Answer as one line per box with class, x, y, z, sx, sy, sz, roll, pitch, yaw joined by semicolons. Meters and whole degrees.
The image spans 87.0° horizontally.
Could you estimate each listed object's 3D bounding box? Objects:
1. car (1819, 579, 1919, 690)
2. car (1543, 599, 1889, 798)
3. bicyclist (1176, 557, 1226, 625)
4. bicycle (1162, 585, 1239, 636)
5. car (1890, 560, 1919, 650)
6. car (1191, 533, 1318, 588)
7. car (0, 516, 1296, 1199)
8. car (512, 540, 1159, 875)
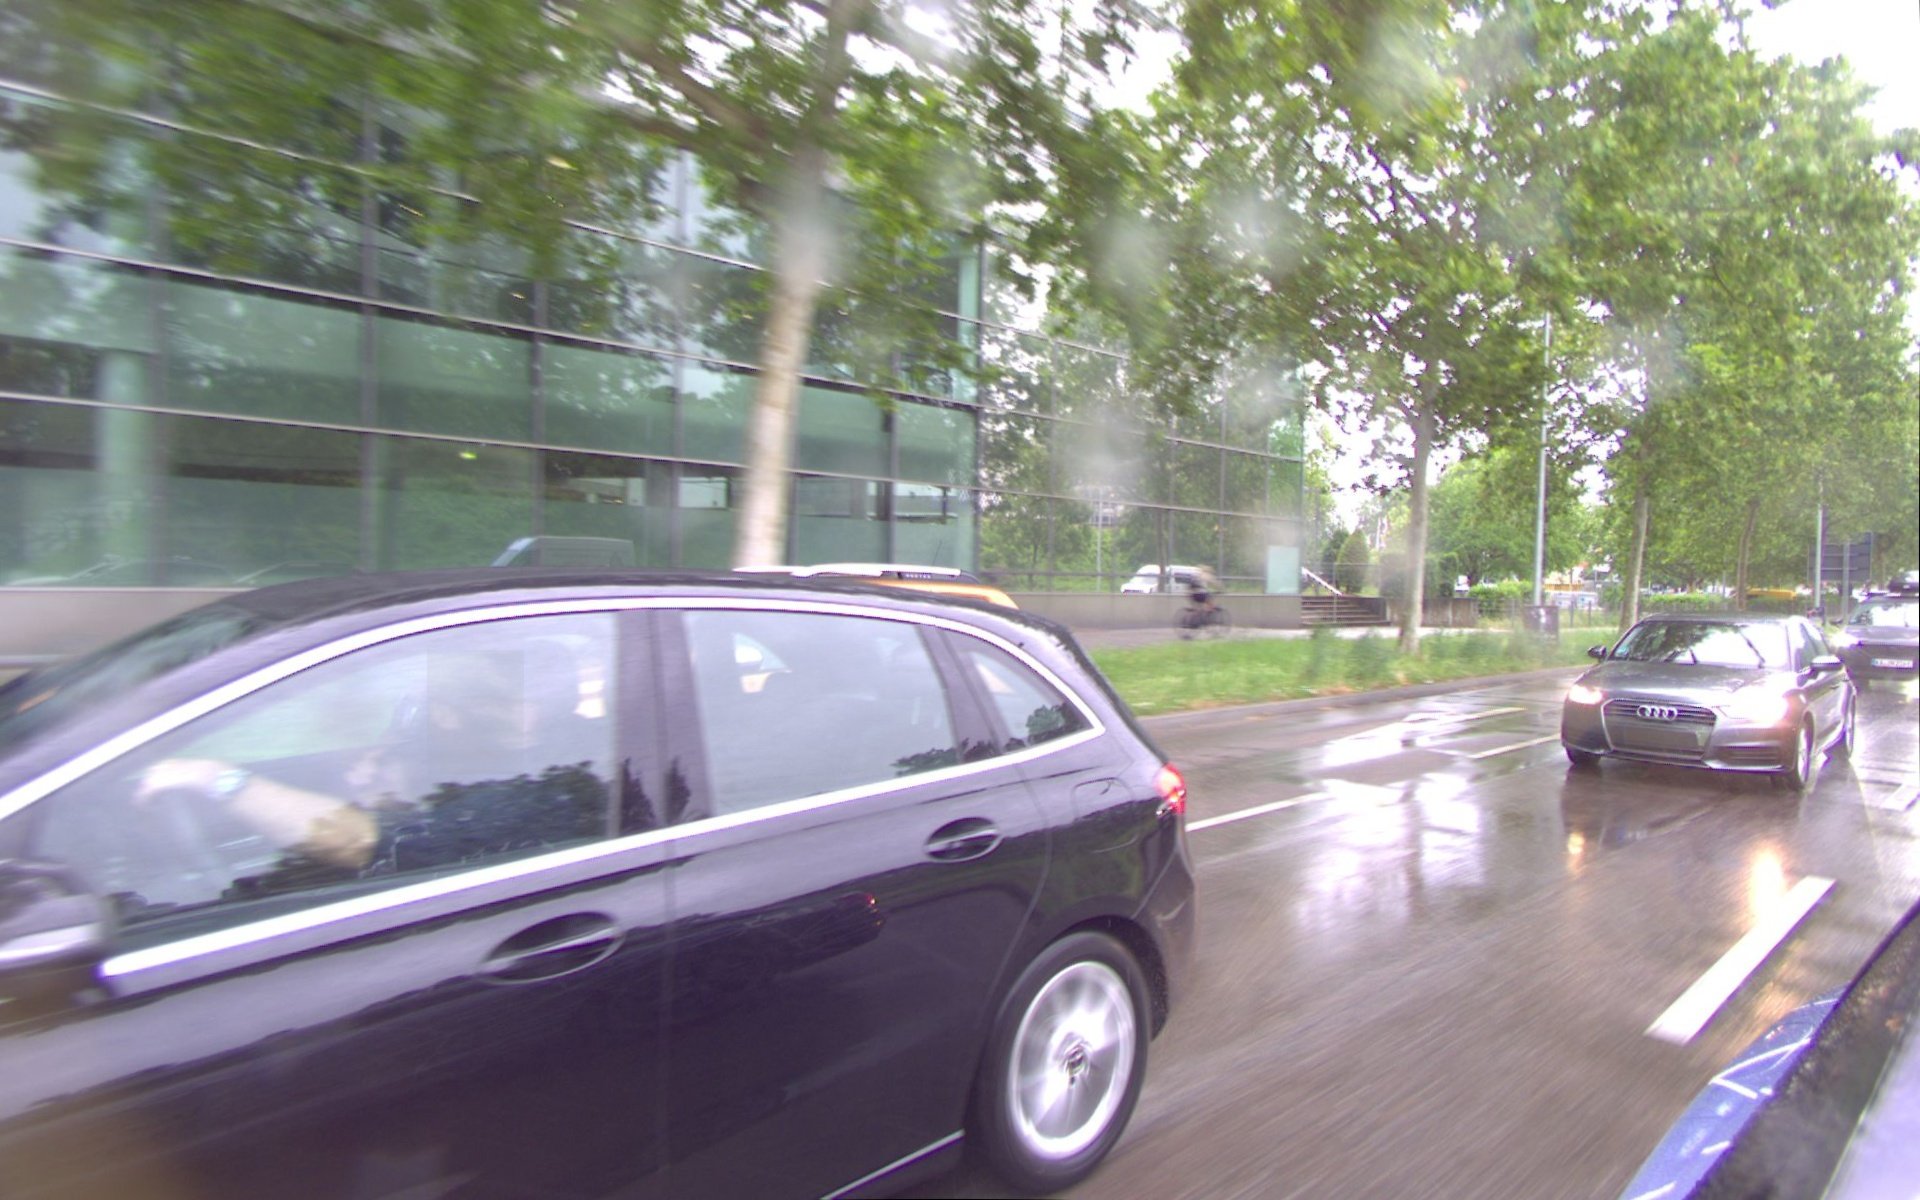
car;16.968;0.549;17.958;4.252;1.769;1.997;0;2;-41
car;7.021;0.717;9.281;3.688;1.416;1.839;0;0;-41
bicyclist;5.709;-0.220;23.981;0.740;1.533;0.806;-1;5;-44
bicycle;5.716;0.221;24.025;2.042;1.118;0.744;-1;4;-44
car;28.364;0.146;28.985;4.891;2.460;1.997;0;2;-41
car;13.776;-1.839;47.728;5.609;2.487;1.992;0;0;13
car;-1.213;0.639;2.308;4.013;1.542;1.875;0;2;-39
car;-0.680;0.491;7.041;4.096;1.652;1.904;0;2;-40
